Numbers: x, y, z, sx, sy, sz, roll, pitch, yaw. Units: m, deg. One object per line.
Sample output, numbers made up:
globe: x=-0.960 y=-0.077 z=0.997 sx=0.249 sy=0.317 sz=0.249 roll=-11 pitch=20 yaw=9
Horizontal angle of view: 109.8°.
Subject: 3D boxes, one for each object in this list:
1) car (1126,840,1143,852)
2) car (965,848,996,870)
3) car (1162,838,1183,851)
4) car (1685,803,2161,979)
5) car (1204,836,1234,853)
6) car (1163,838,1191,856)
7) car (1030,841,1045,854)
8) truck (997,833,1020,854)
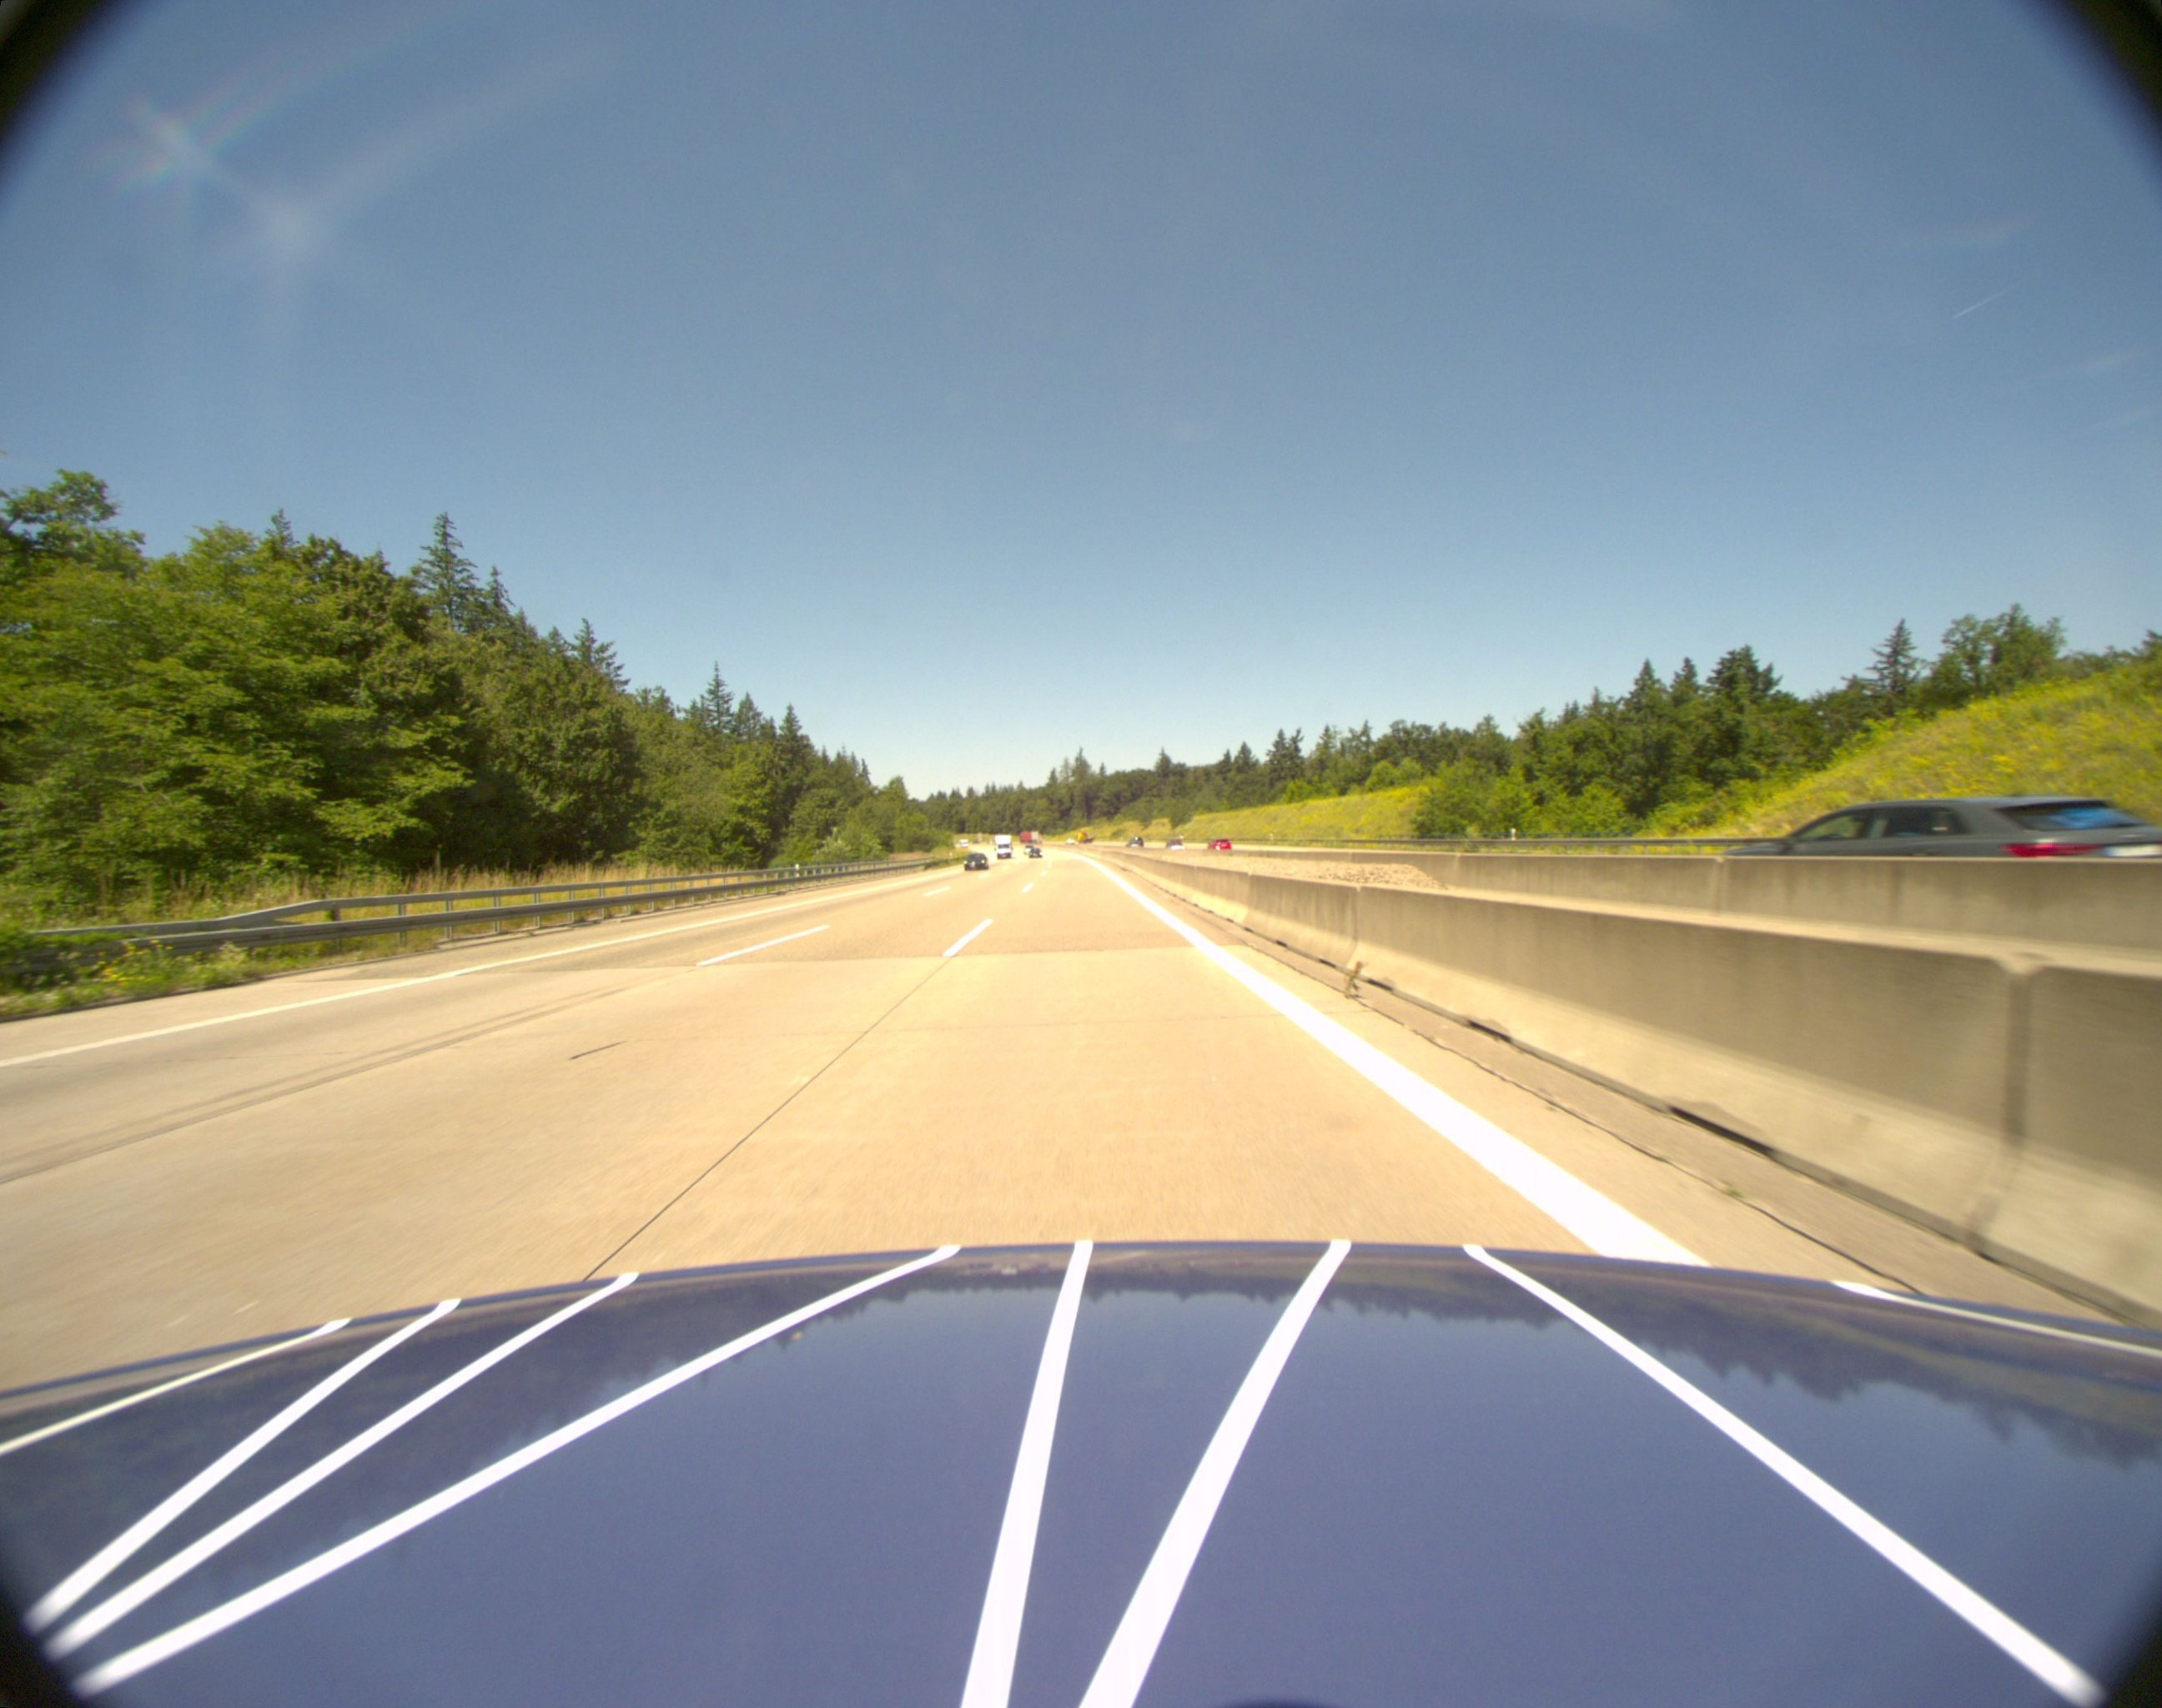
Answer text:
car: x=7.691 y=-1.159 z=109.429 sx=1.999 sy=1.595 sz=4.410 roll=-3 pitch=1 yaw=-2
car: x=-8.482 y=0.411 z=64.595 sx=1.931 sy=1.694 sz=4.399 roll=-3 pitch=1 yaw=1
car: x=12.041 y=-1.258 z=100.633 sx=1.999 sy=1.595 sz=4.410 roll=-3 pitch=1 yaw=-2
car: x=10.378 y=0.289 z=9.371 sx=1.999 sy=1.595 sz=4.657 roll=-3 pitch=1 yaw=-2
car: x=13.606 y=-0.947 z=75.260 sx=1.999 sy=1.595 sz=4.410 roll=-3 pitch=1 yaw=-2
car: x=9.431 y=-0.700 z=74.907 sx=1.999 sy=1.595 sz=4.410 roll=-3 pitch=1 yaw=-2
car: x=-5.939 y=-0.879 z=104.260 sx=1.999 sy=1.694 sz=4.398 roll=-3 pitch=1 yaw=-3
truck: x=-10.402 y=-1.540 z=109.358 sx=2.483 sy=2.779 sz=5.914 roll=-3 pitch=1 yaw=1
